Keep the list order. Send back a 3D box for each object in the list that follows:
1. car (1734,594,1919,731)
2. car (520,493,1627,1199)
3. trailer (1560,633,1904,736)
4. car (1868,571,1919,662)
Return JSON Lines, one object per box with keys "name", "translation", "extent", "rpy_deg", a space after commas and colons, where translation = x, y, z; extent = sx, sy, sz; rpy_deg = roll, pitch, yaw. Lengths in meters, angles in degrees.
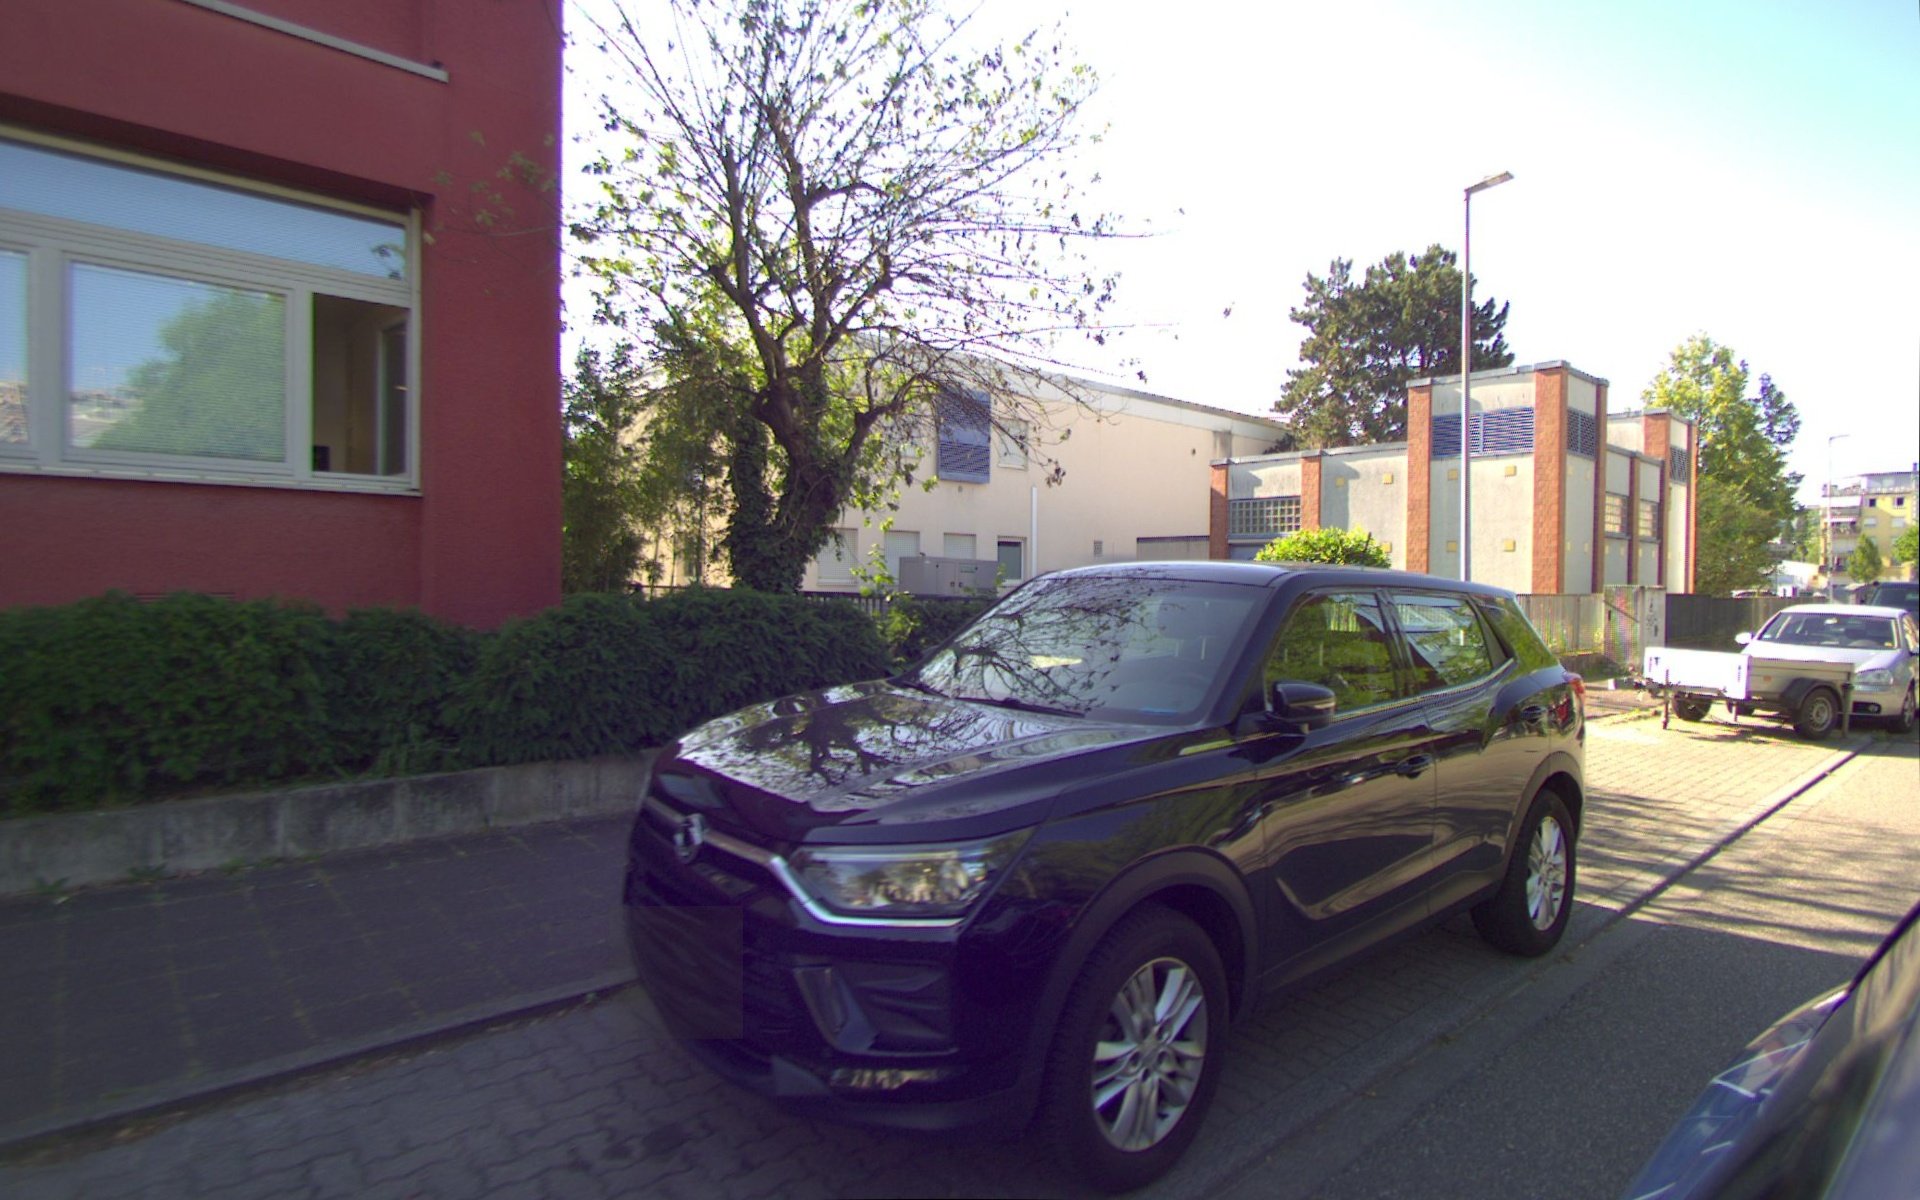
{"name": "car", "translation": [11.640, 0.683, 13.188], "extent": [3.821, 1.474, 1.698], "rpy_deg": [0, 2, -41]}
{"name": "car", "translation": [0.820, 0.587, 3.981], "extent": [4.329, 1.650, 1.878], "rpy_deg": [0, 2, -41]}
{"name": "trailer", "translation": [8.612, 0.902, 11.380], "extent": [2.918, 0.938, 1.571], "rpy_deg": [1, 2, -14]}
{"name": "car", "translation": [23.160, 0.375, 23.958], "extent": [4.296, 2.010, 1.902], "rpy_deg": [0, 2, -41]}
